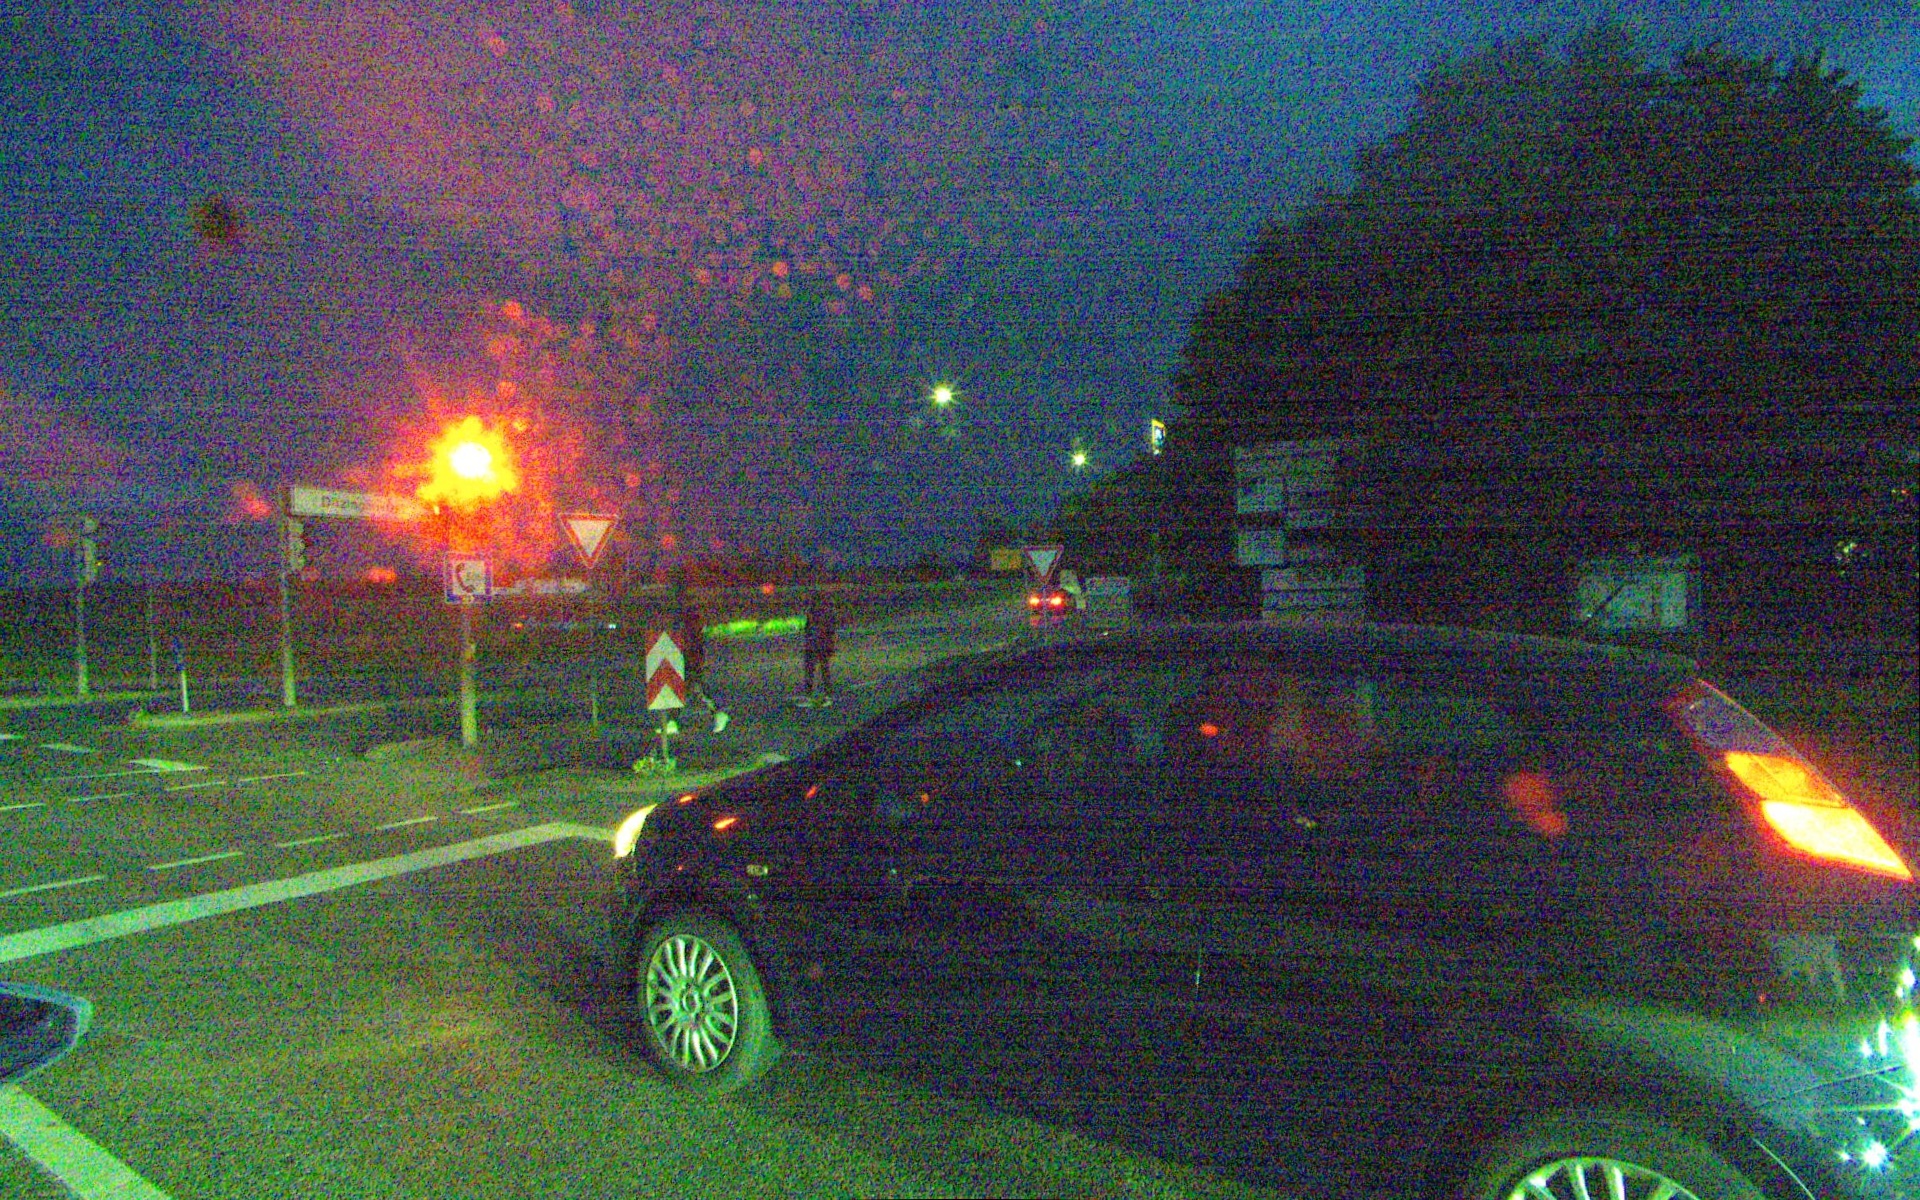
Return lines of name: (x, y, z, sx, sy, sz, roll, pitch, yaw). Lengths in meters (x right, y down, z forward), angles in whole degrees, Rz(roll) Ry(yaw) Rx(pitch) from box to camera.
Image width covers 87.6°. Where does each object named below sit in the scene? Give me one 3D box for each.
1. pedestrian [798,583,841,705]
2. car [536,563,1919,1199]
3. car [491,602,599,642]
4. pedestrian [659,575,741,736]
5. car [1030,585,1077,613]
pedestrian: (-2.405, 0.750, 17.165, 0.700, 2.039, 0.781, 0, -1, -6)
car: (0.471, 0.753, 3.236, 3.663, 1.557, 1.655, -1, -1, 33)
car: (-18.743, 0.947, 45.441, 4.403, 1.686, 1.994, -1, 1, -22)
pedestrian: (-3.439, 0.723, 13.264, 0.704, 2.039, 0.776, -1, -1, 33)
car: (5.292, -0.012, 56.286, 1.777, 1.461, 3.994, -1, -1, 18)
